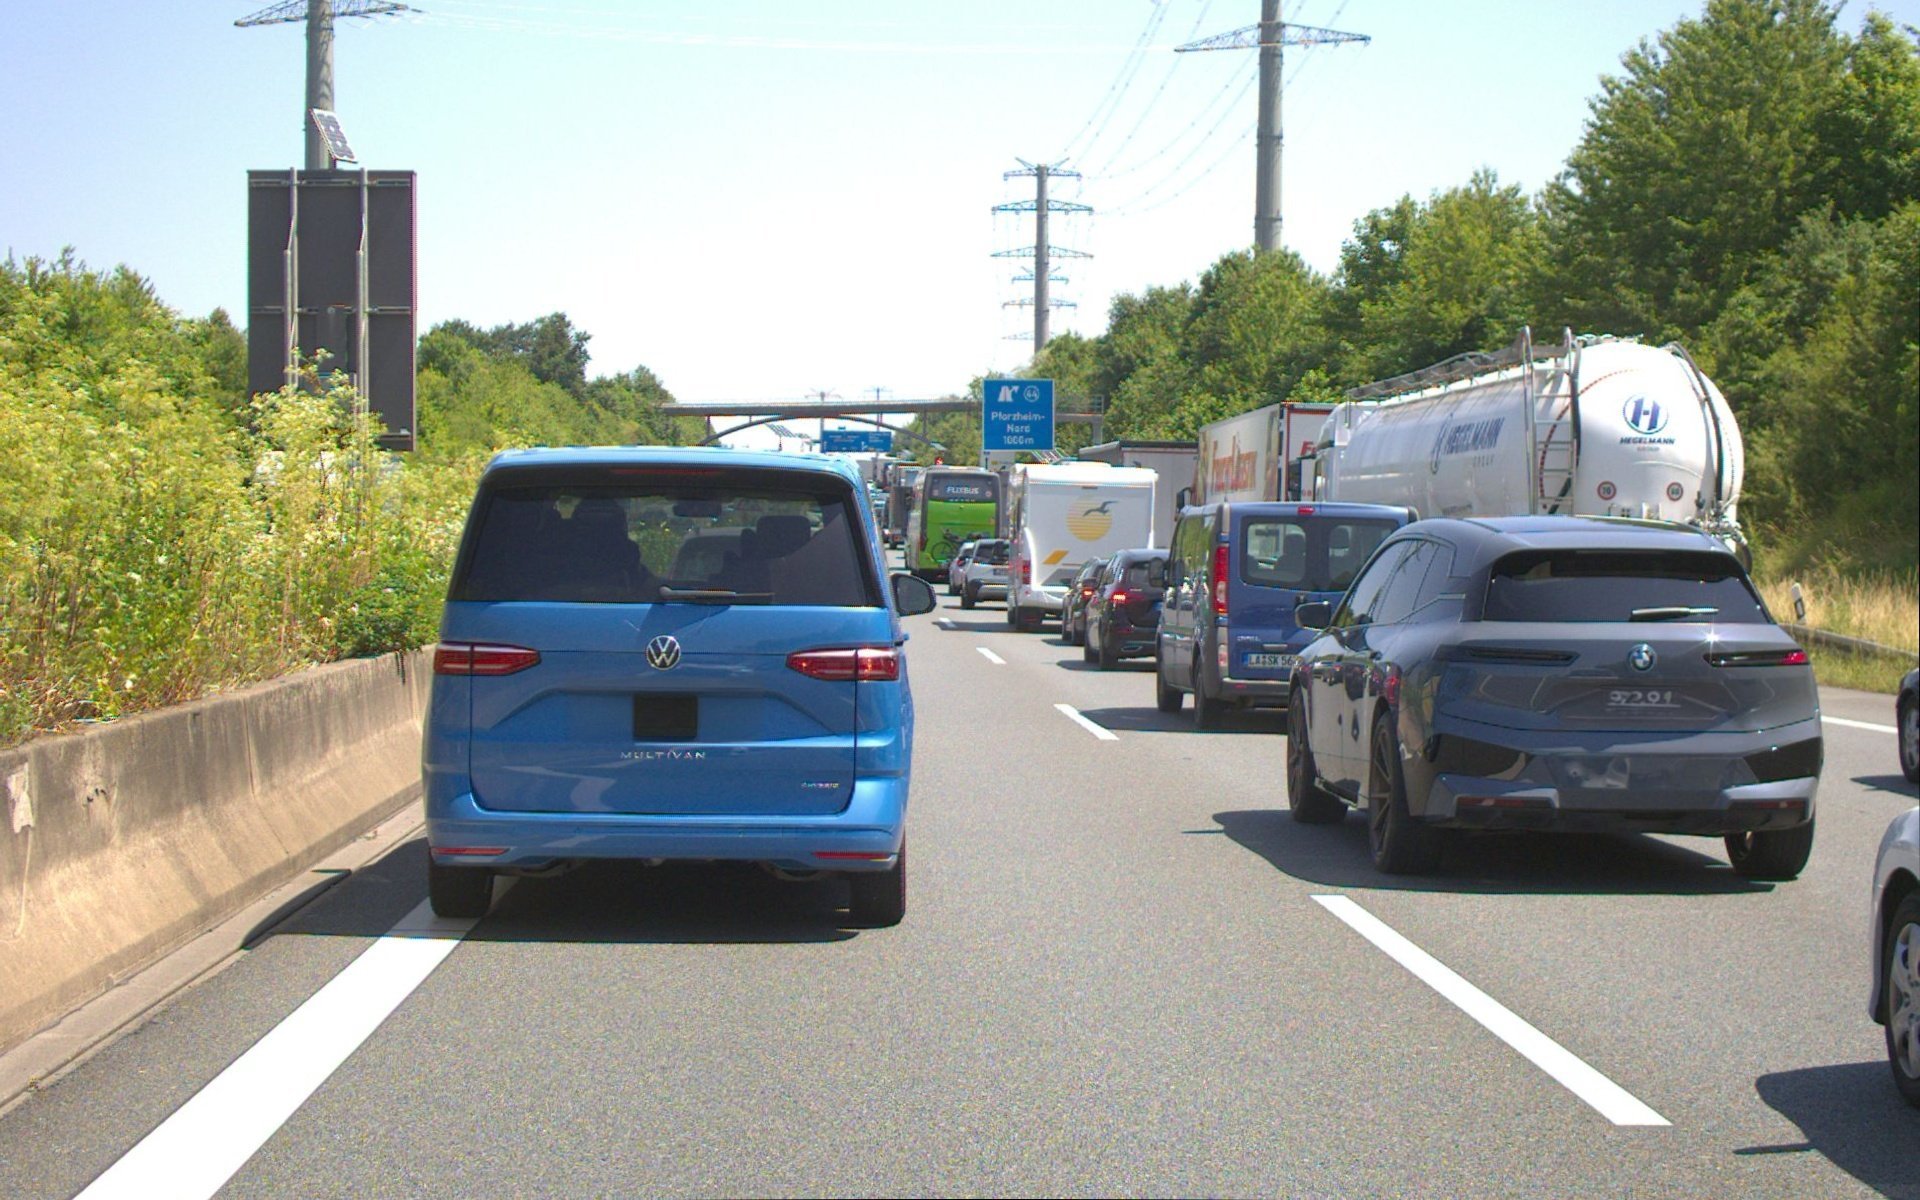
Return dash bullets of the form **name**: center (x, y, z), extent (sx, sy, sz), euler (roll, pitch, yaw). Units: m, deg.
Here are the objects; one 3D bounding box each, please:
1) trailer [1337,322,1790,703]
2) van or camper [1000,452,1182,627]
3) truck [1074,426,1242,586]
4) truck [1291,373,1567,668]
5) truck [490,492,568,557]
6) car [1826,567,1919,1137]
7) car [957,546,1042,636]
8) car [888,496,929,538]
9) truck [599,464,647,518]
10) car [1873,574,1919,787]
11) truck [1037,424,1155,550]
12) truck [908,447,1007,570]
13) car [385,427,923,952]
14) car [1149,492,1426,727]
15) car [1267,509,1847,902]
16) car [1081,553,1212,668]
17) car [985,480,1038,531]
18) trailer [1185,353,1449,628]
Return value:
- **trailer**: center (6.723, -0.969, 40.437), extent (2.761, 3.831, 11.488), euler (0, 1, -3)
- **van or camper**: center (2.322, -1.089, 63.420), extent (2.957, 3.011, 7.103), euler (1, 1, -1)
- **truck**: center (4.952, -2.303, 89.165), extent (3.006, 3.753, 15.714), euler (1, 1, -1)
- **truck**: center (6.380, -1.079, 47.553), extent (2.792, 3.823, 5.573), euler (0, 1, -3)
- **truck**: center (-22.428, -3.909, 179.472), extent (2.765, 3.277, 11.820), euler (0, 1, -1)
- **car**: center (3.434, 0.662, 7.815), extent (1.817, 1.480, 4.000), euler (0, 0, -2)
- **car**: center (0.886, -0.204, 78.588), extent (1.836, 1.991, 4.000), euler (0, 0, -1)
- **car**: center (-2.710, -4.366, 180.344), extent (1.993, 2.118, 4.000), euler (1, 1, -3)
- **truck**: center (-23.463, -7.576, 239.441), extent (3.071, 3.697, 5.464), euler (0, 1, -3)
- **car**: center (7.185, 0.526, 21.767), extent (1.641, 1.412, 3.989), euler (-1, 0, -2)
- **truck**: center (4.304, -3.541, 111.597), extent (2.895, 3.753, 13.346), euler (1, 1, -1)
- **truck**: center (-0.147, -2.868, 111.309), extent (2.895, 3.753, 10.141), euler (1, 1, -1)
- **car**: center (-1.200, 0.293, 14.666), extent (1.920, 1.880, 4.001), euler (2, 1, -2)
- **car**: center (2.822, 0.070, 30.533), extent (1.923, 1.919, 4.236), euler (-1, 0, -2)
- **car**: center (2.821, 0.454, 17.347), extent (1.999, 1.709, 4.625), euler (0, 0, -2)
- **car**: center (2.375, 0.120, 44.492), extent (1.360, 1.415, 3.885), euler (-1, 0, -2)
- **car**: center (2.129, -3.932, 143.562), extent (1.993, 2.007, 4.000), euler (1, 1, -2)
- **trailer**: center (6.225, -1.875, 62.107), extent (2.912, 4.453, 12.156), euler (0, 1, -3)
